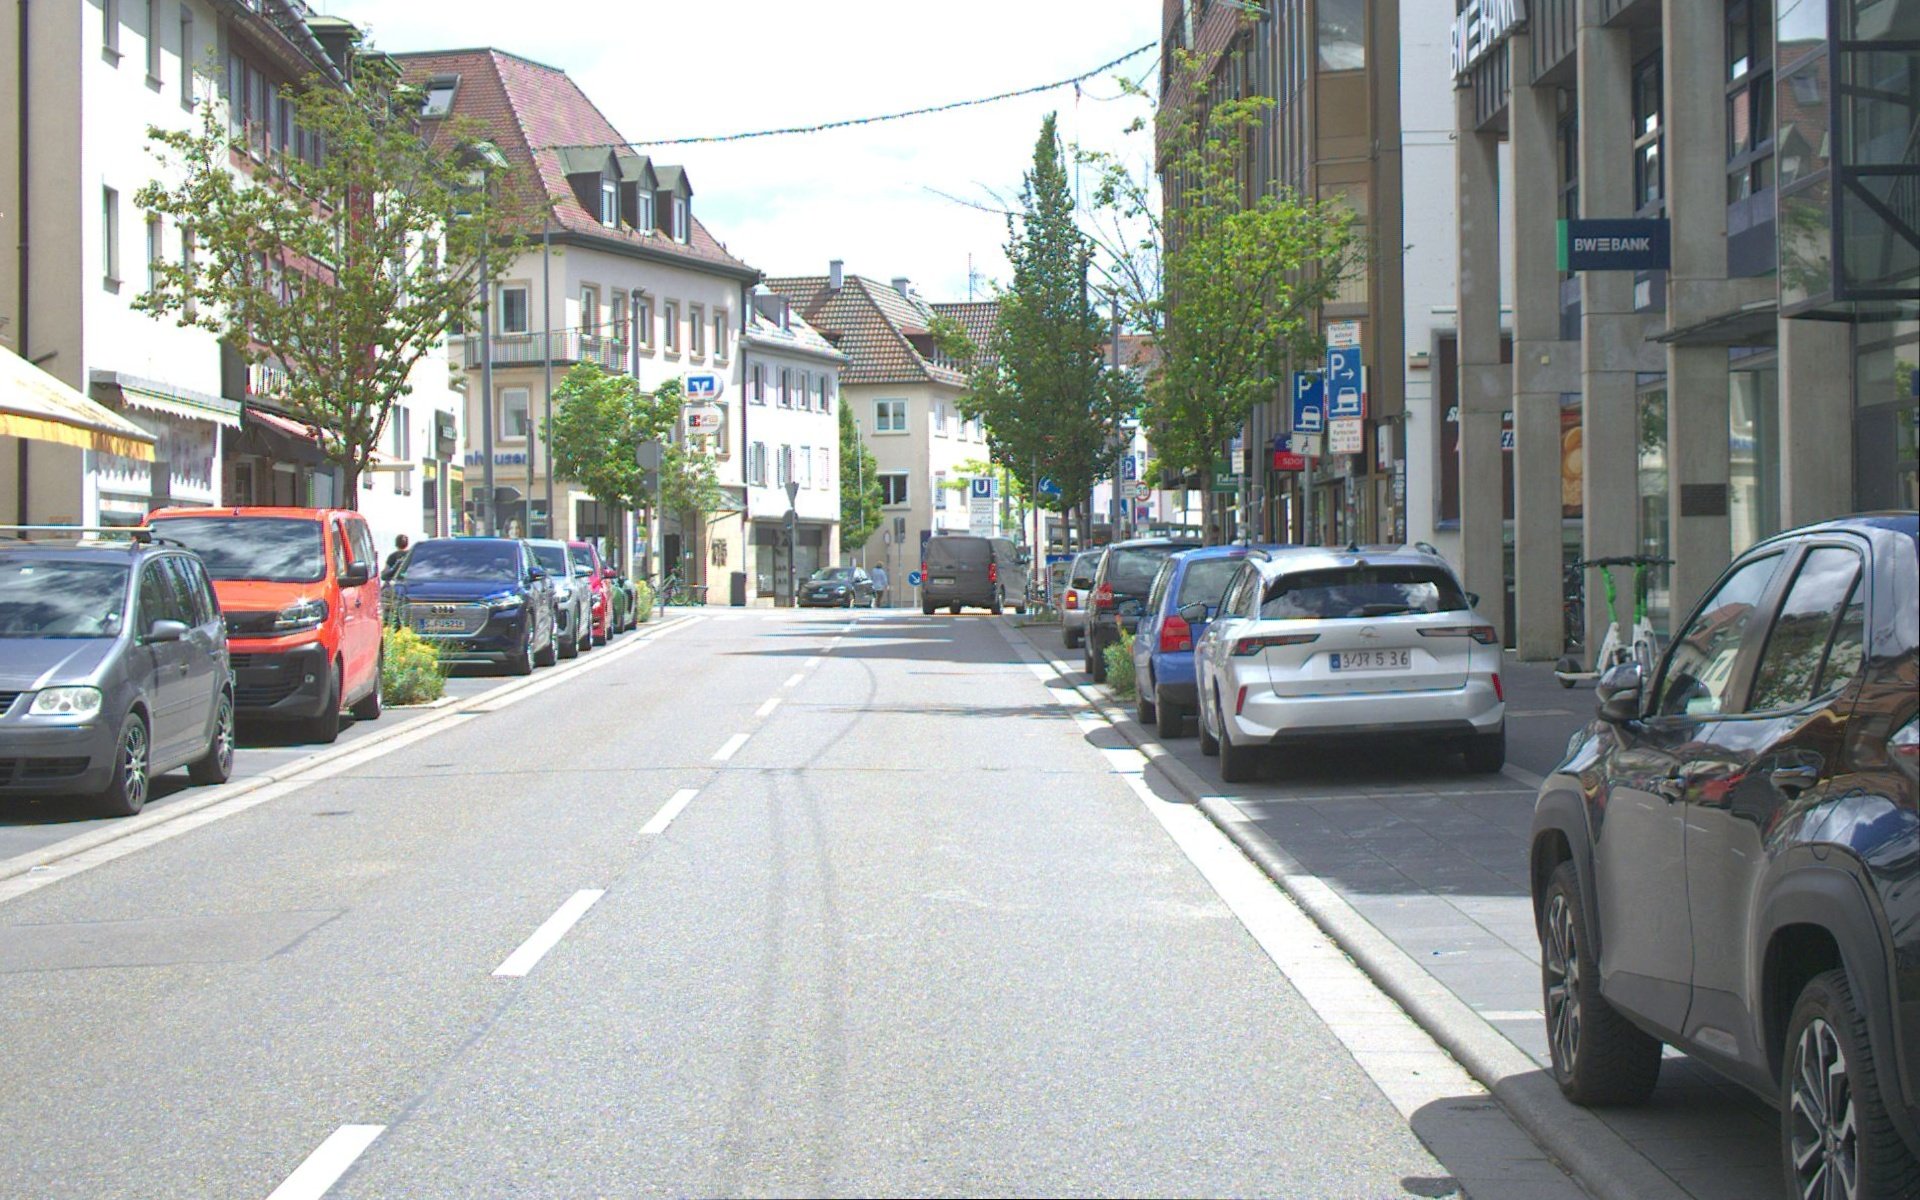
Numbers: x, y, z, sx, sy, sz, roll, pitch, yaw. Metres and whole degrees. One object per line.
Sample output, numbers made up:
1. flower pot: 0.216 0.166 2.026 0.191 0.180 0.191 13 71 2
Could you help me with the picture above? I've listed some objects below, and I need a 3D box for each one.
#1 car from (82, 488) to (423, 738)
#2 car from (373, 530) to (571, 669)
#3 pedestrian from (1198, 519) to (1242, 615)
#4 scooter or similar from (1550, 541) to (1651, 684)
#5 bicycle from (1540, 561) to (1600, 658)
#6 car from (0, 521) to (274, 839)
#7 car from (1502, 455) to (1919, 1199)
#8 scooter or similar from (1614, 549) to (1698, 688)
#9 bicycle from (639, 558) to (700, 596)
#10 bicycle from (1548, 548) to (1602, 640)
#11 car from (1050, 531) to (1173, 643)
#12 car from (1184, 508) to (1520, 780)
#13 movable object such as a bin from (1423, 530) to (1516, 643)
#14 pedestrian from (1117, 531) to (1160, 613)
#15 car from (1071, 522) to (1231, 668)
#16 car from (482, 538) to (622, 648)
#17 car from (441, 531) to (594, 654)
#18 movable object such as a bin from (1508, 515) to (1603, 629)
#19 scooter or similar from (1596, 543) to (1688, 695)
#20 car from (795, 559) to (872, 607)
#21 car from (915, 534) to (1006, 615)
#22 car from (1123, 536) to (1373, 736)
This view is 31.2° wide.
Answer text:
1. car: -5.814 0.087 28.821 1.816 1.882 4.841 1 0 0
2. car: -5.848 -0.044 41.616 1.799 1.592 4.389 0 1 0
3. pedestrian: 4.986 -0.630 65.932 0.737 1.808 0.711 1 0 0
4. scooter or similar: 5.714 0.106 30.716 0.405 1.241 1.325 1 0 -11
5. bicycle: 7.171 0.104 40.446 0.425 1.115 1.741 1 0 2
6. car: -5.644 0.422 21.253 1.816 1.749 4.464 1 0 1
7. car: 2.453 0.547 7.876 1.721 1.571 4.109 1 0 0
8. scooter or similar: 6.434 0.162 31.835 0.422 1.241 1.561 1 0 -1
9. bicycle: -8.227 -0.649 97.384 1.633 1.027 0.567 1 0 15
10. bicycle: 7.670 -0.078 42.914 0.425 1.115 1.502 1 0 2
11. car: 2.202 -0.222 50.726 1.609 1.490 3.795 -4 1 1
12. car: 2.462 0.236 22.547 1.721 1.571 4.428 -1 1 1
13. movable object such as a bin: 7.019 -0.186 47.394 1.142 1.522 1.032 1 0 2
14. pedestrian: 3.547 -0.553 68.516 0.784 1.610 0.800 1 0 0
15. car: 2.107 -0.087 38.783 1.609 1.527 3.795 -1 1 1
16. car: -6.218 -0.144 52.763 1.799 1.598 4.219 -1 1 -2
17. car: -6.059 -0.140 47.485 1.799 1.598 4.352 -1 1 -4
18. movable object such as a bin: 8.192 -0.385 47.336 1.142 1.522 1.032 1 0 2
19. scooter or similar: 5.726 0.151 28.905 0.422 1.241 1.561 1 0 -1
20. car: -4.034 -0.525 110.034 1.625 1.481 3.803 1 0 11
21. car: -0.015 -0.612 82.086 2.040 1.842 4.999 1 0 -1
22. car: 2.283 0.263 28.134 1.721 1.488 4.109 1 0 1
